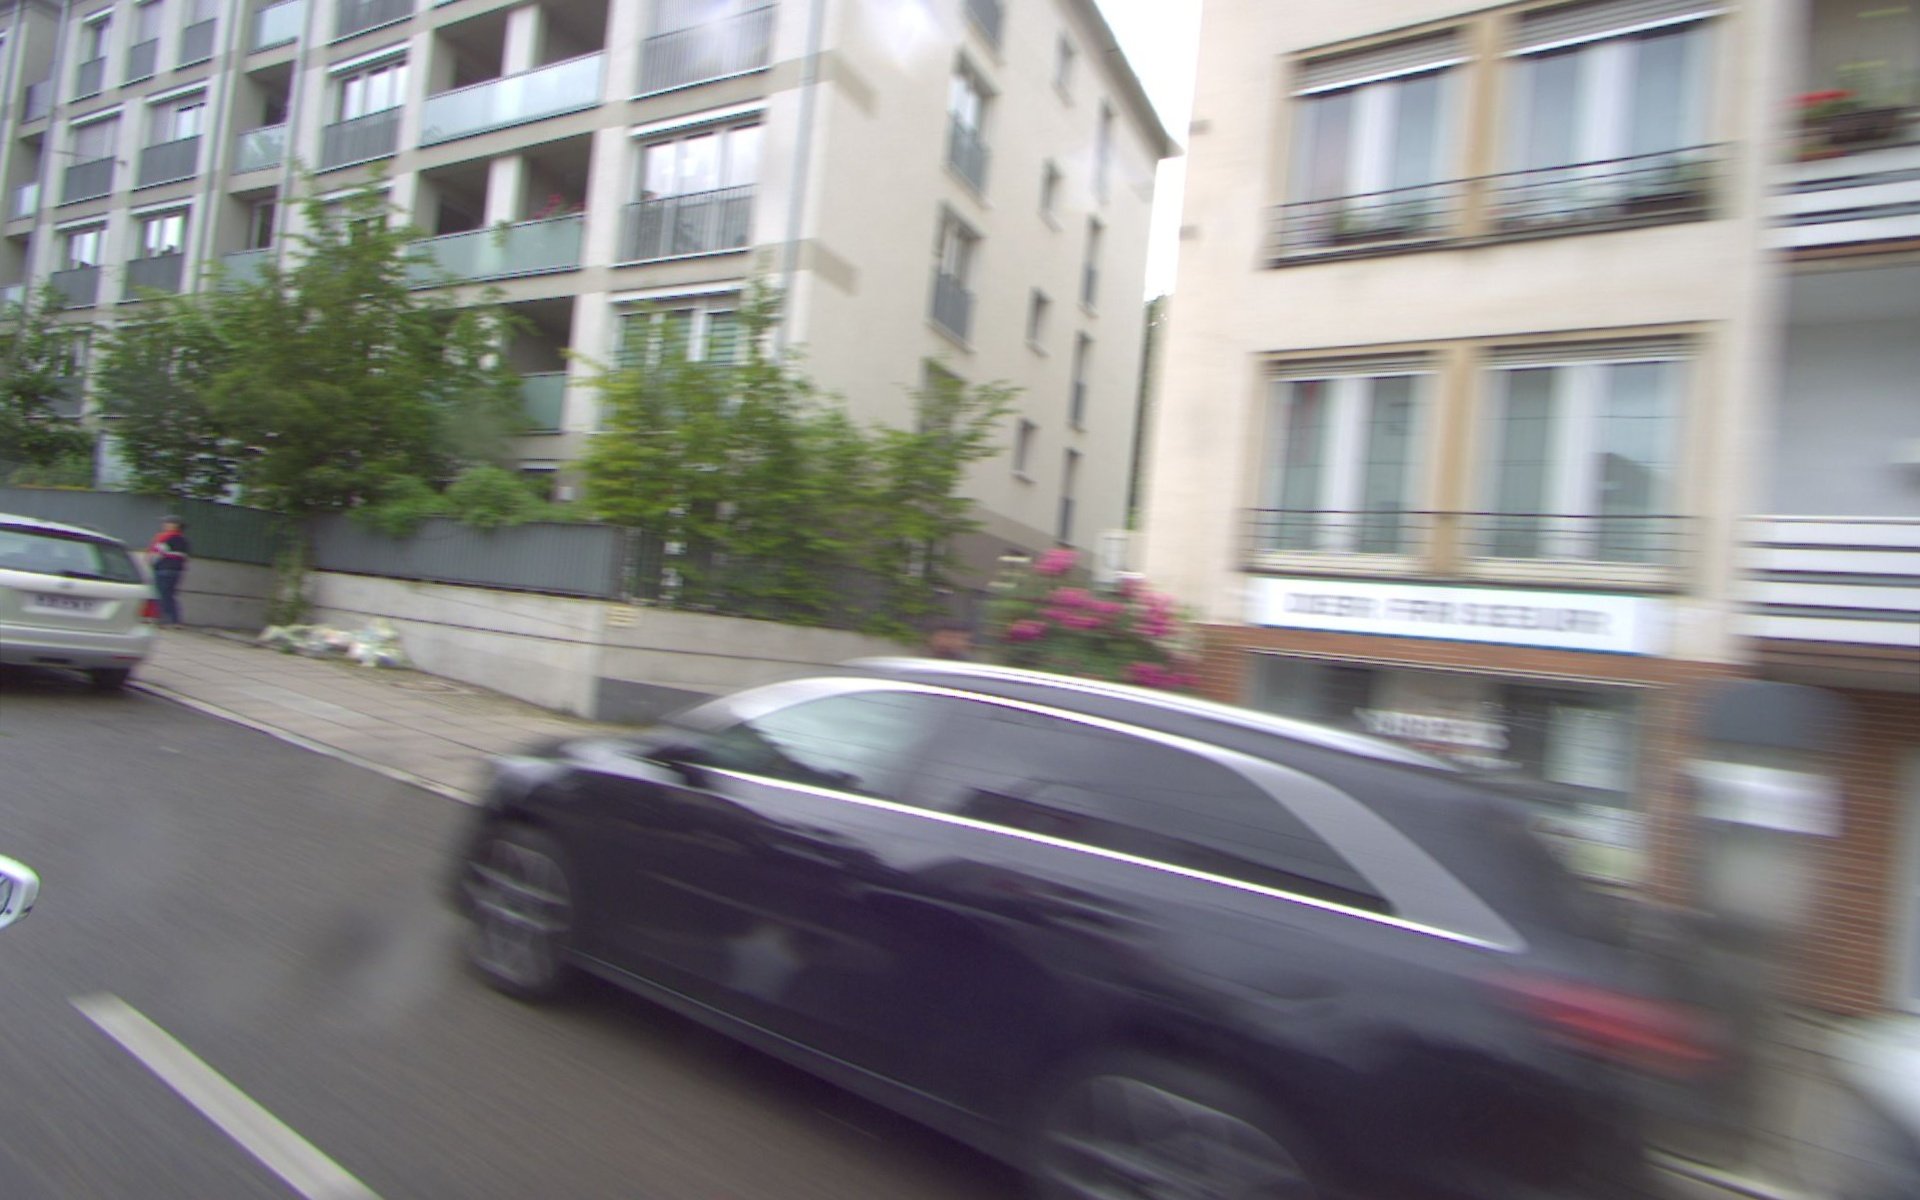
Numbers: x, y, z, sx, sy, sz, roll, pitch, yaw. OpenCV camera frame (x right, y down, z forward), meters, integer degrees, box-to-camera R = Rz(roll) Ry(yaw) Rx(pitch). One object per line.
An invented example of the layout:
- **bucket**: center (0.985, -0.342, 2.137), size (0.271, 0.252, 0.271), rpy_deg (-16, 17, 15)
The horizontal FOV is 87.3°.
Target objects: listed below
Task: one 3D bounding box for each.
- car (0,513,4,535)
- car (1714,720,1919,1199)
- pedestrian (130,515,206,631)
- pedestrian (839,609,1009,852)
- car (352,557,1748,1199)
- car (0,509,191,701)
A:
- **car**: center (-13.252, -0.565, 11.840), size (3.650, 1.528, 1.707), rpy_deg (8, -3, 28)
- **car**: center (3.771, 1.316, 1.288), size (4.177, 1.590, 1.843), rpy_deg (7, -3, 31)
- **pedestrian**: center (-11.273, -0.382, 14.325), size (0.640, 1.562, 0.569), rpy_deg (8, 2, 33)
- **pedestrian**: center (-0.256, 0.906, 7.293), size (0.913, 1.562, 0.570), rpy_deg (7, 2, 24)
- **car**: center (-0.115, 0.940, 3.745), size (4.496, 1.527, 1.707), rpy_deg (7, -4, 33)
- **car**: center (-9.380, -0.139, 9.499), size (4.432, 1.487, 1.666), rpy_deg (6, -3, 30)
